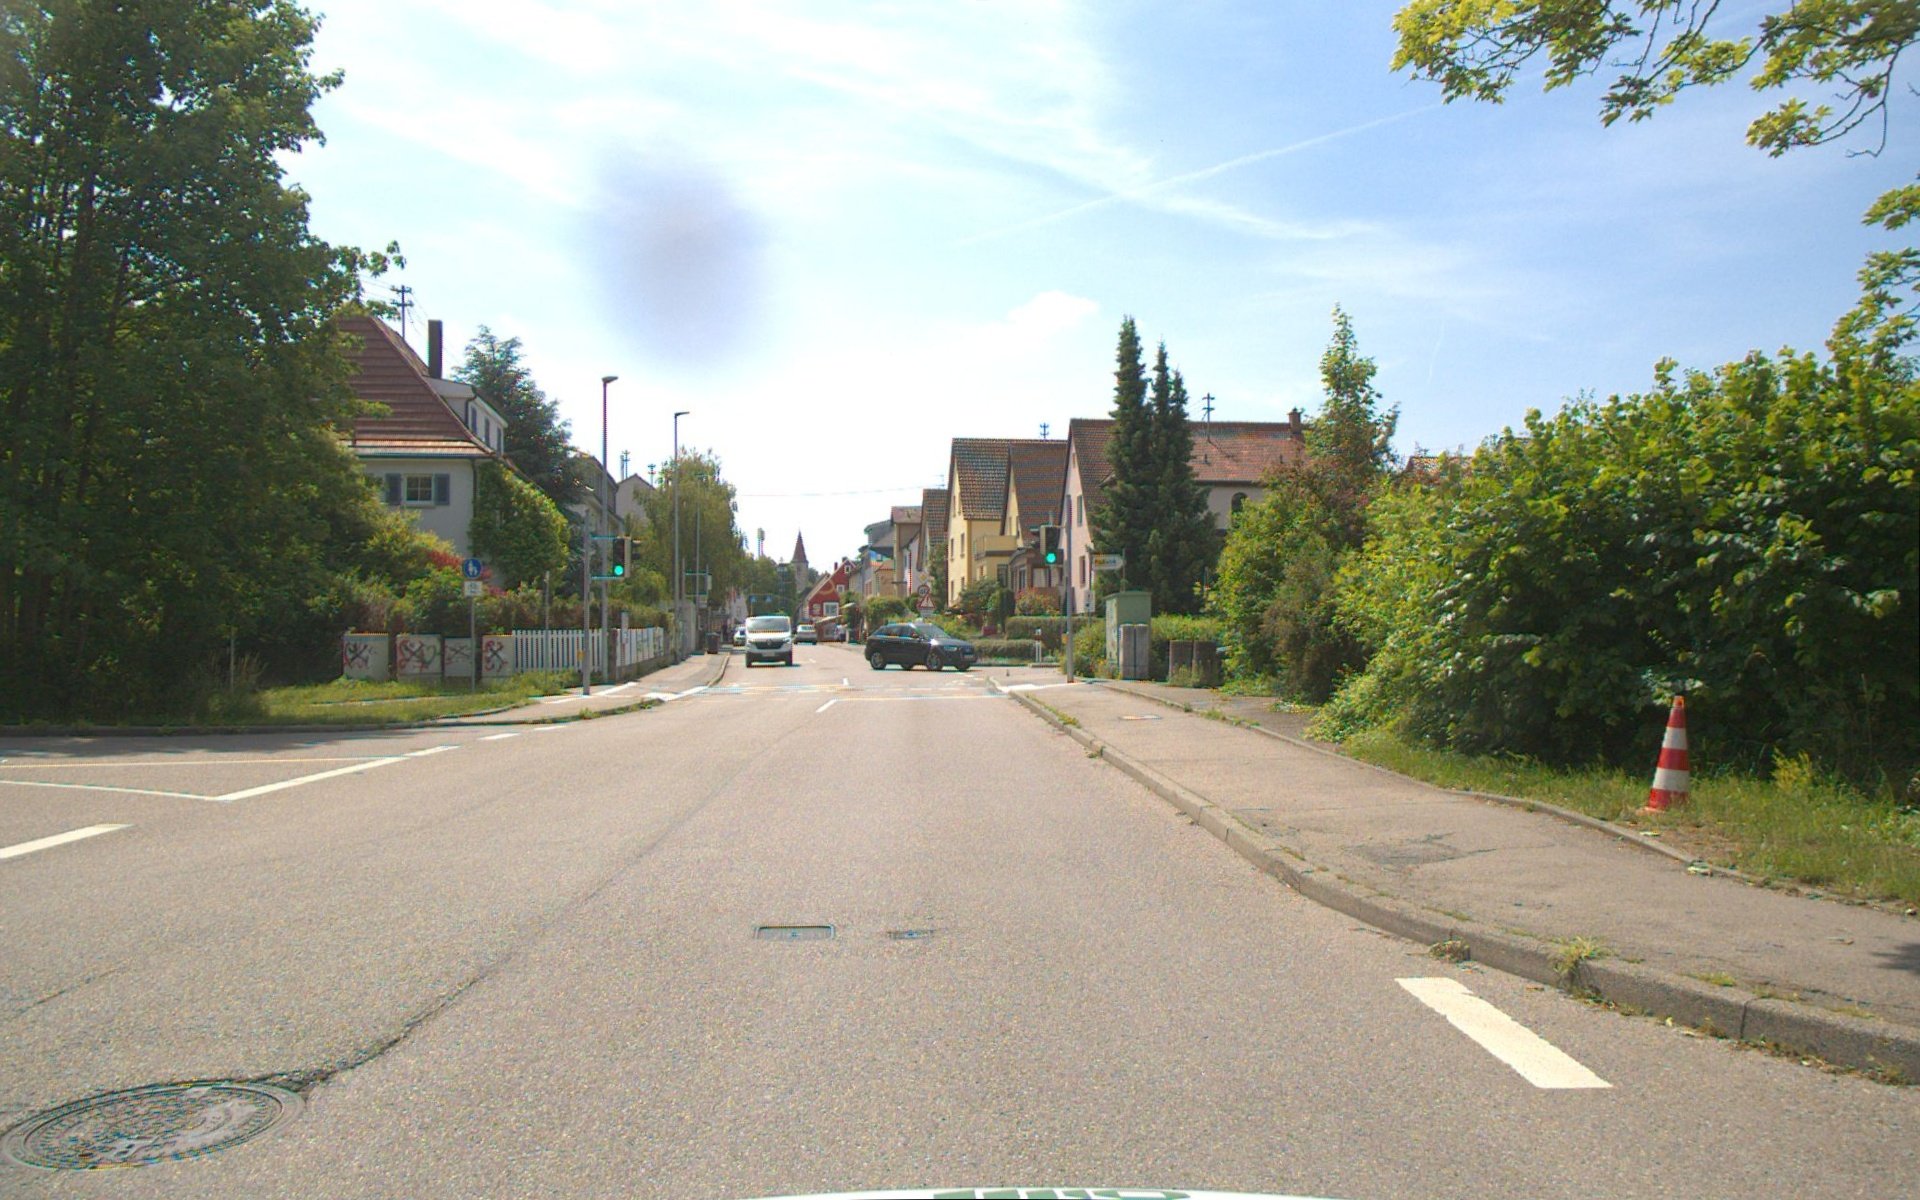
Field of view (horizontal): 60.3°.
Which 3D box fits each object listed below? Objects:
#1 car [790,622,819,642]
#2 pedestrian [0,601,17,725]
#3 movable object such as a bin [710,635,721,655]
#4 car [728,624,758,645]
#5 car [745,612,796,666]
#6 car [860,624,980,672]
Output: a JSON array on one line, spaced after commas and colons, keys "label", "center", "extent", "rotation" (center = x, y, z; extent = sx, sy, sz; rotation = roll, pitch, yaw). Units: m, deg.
[{"label": "car", "center": [-12.814, 2.644, 136.216], "extent": [1.958, 1.588, 4.302], "rotation": [-1, -1, -11]}, {"label": "pedestrian", "center": [-14.348, 0.933, 24.131], "extent": [0.720, 1.808, 0.690], "rotation": [-3, -2, 16]}, {"label": "movable object such as a bin", "center": [-13.130, 2.414, 88.876], "extent": [0.596, 1.064, 0.724], "rotation": [0, 0, -8]}, {"label": "car", "center": [-17.085, 2.734, 130.363], "extent": [2.068, 1.588, 4.311], "rotation": [-1, -1, -3]}, {"label": "car", "center": [-7.598, 1.552, 66.101], "extent": [1.844, 1.999, 4.893], "rotation": [-2, -1, -8]}, {"label": "car", "center": [-1.418, 1.637, 57.129], "extent": [4.225, 1.568, 1.531], "rotation": [-1, 0, 40]}]
